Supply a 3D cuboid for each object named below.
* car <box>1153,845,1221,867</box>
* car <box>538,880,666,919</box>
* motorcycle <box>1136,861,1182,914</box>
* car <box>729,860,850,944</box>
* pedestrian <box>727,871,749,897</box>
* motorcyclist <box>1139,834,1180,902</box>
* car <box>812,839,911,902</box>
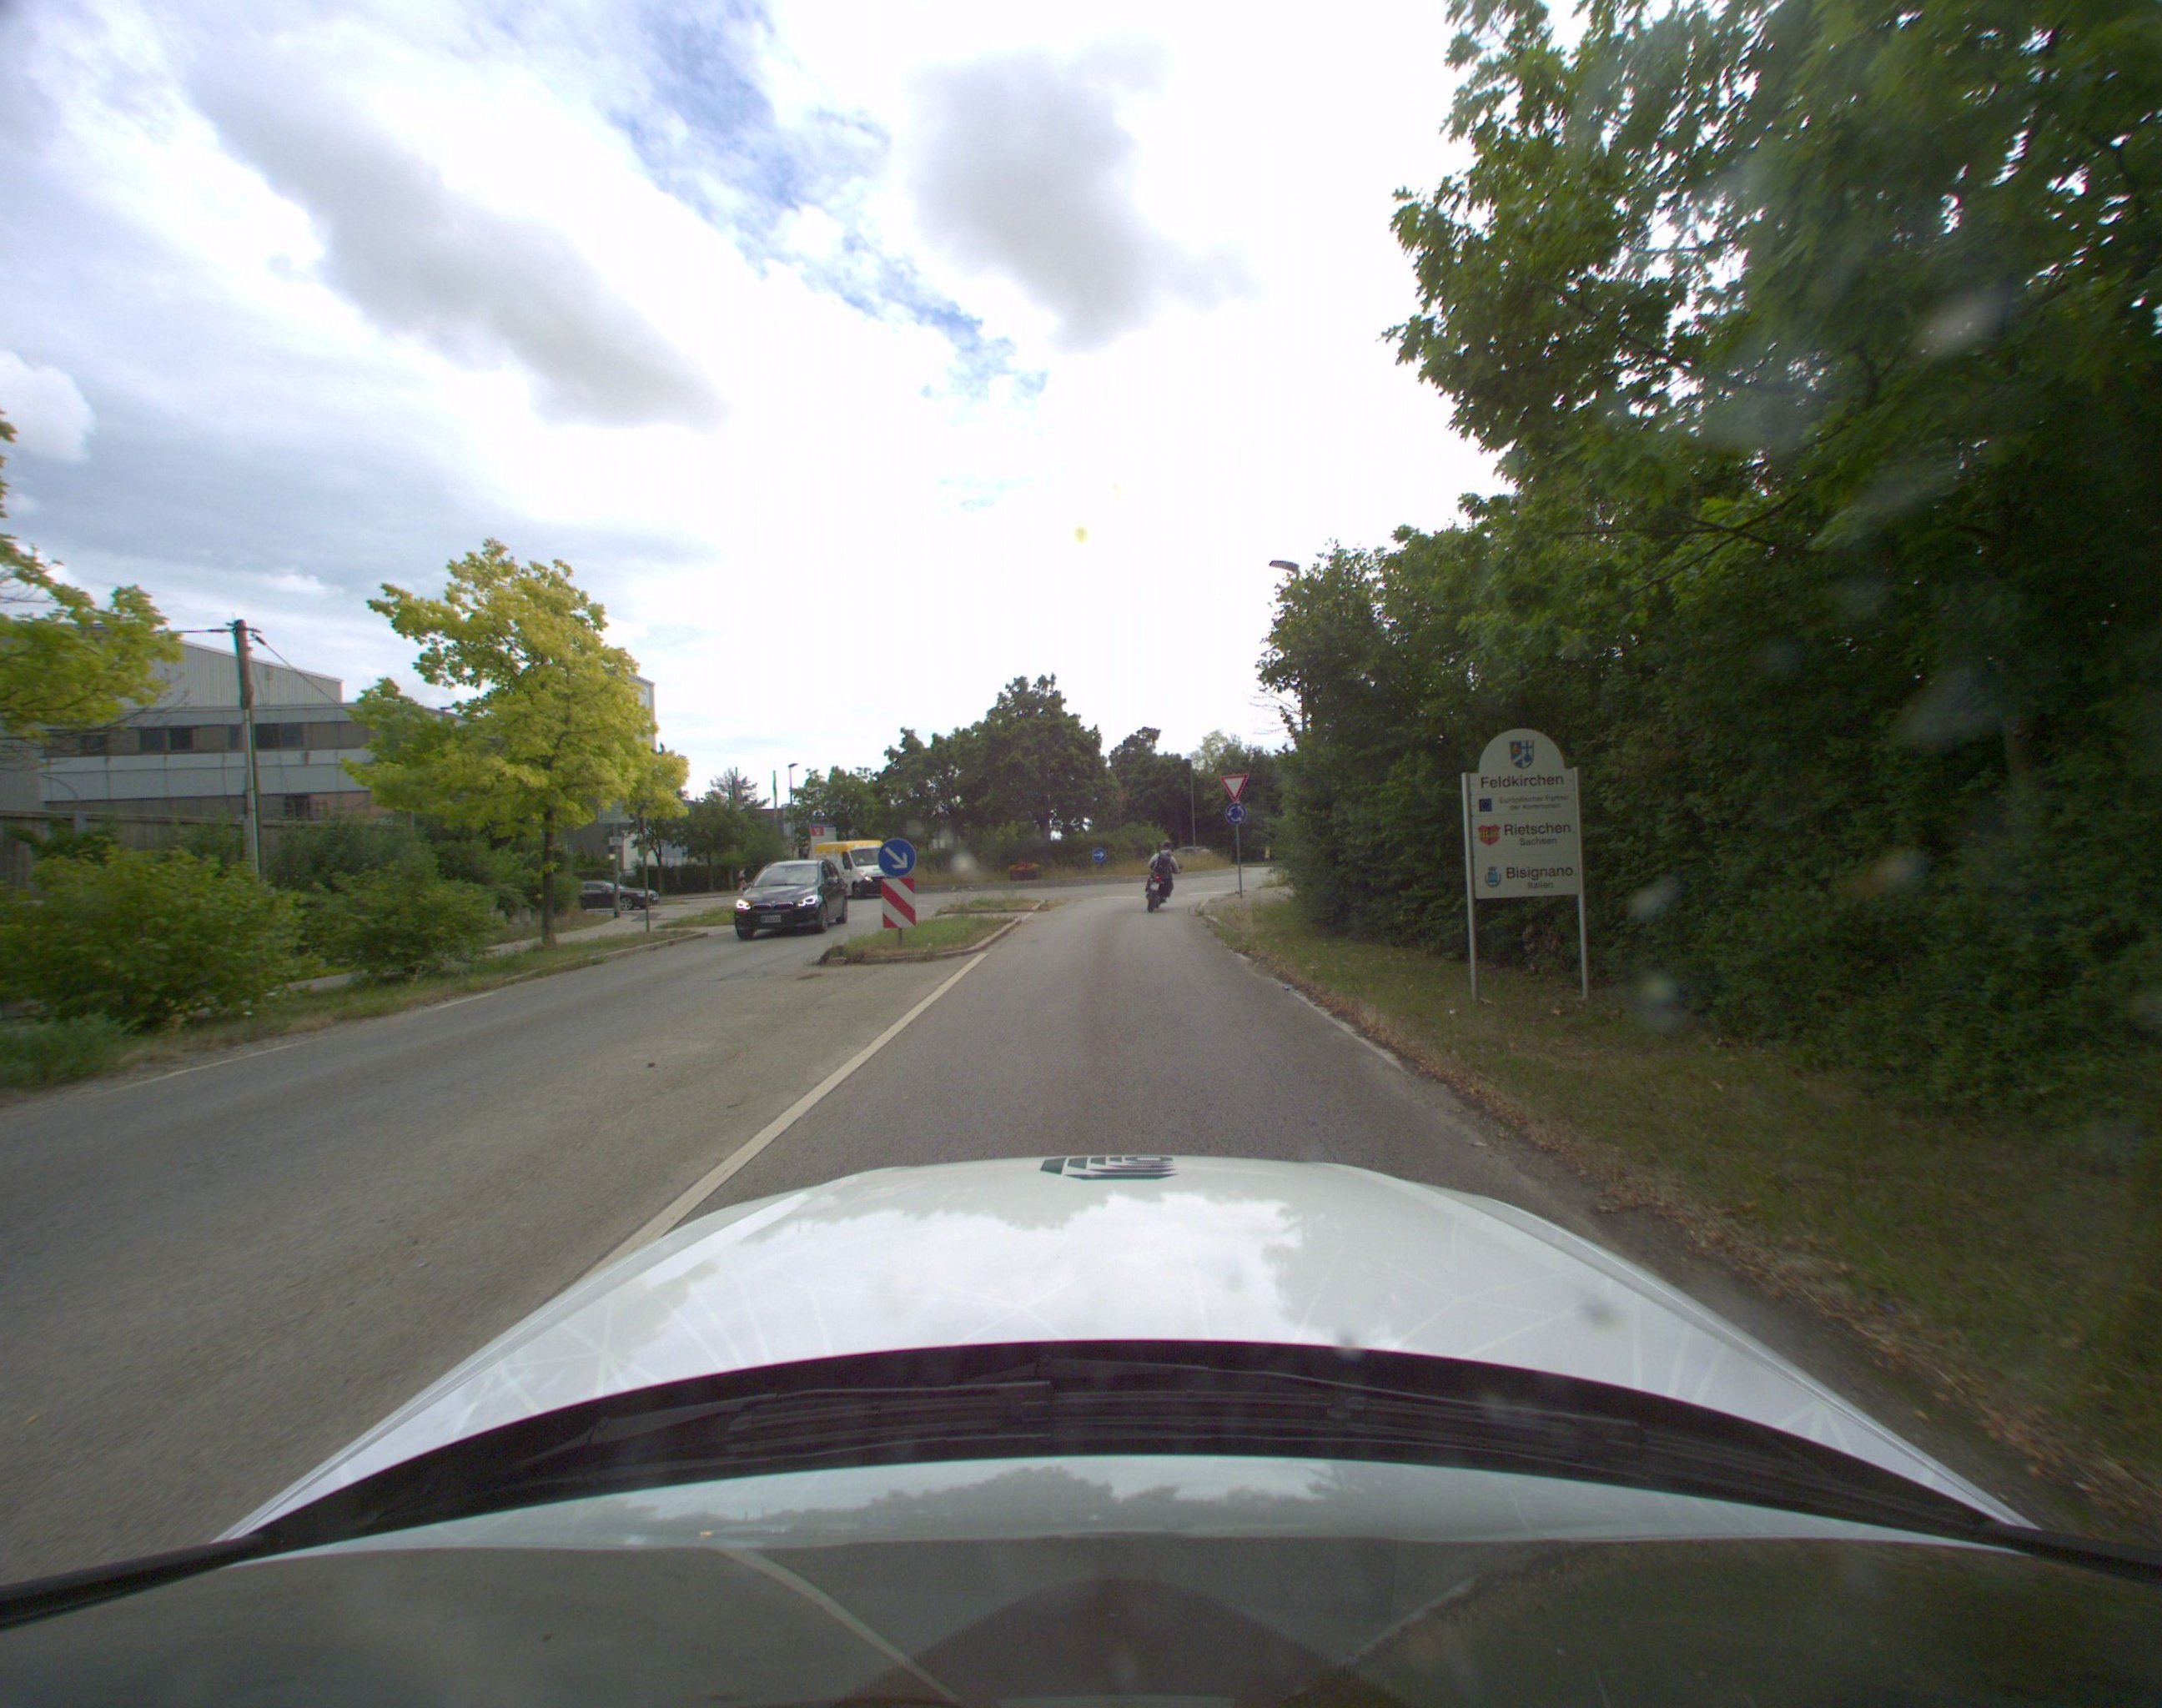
[{"bbox_3d":[7.120,0.141,54.686,3.948,1.255,2.013,-3,0,35],"label":"car"},{"bbox_3d":[-21.225,1.990,36.214,4.444,1.347,1.935,-3,0,-2],"label":"car"},{"bbox_3d":[1.986,0.799,20.317,0.891,1.158,2.628,-2,0,10],"label":"motorcycle"},{"bbox_3d":[-6.526,0.985,18.693,1.738,1.585,4.342,-4,0,-9],"label":"car"},{"bbox_3d":[-20.945,1.832,49.699,0.624,1.468,0.955,-3,0,35],"label":"pedestrian"},{"bbox_3d":[1.973,0.334,20.381,0.856,1.623,1.194,-2,0,10],"label":"motorcyclist"},{"bbox_3d":[-9.635,0.705,35.434,2.180,2.452,5.380,-3,0,-38],"label":"car"}]
